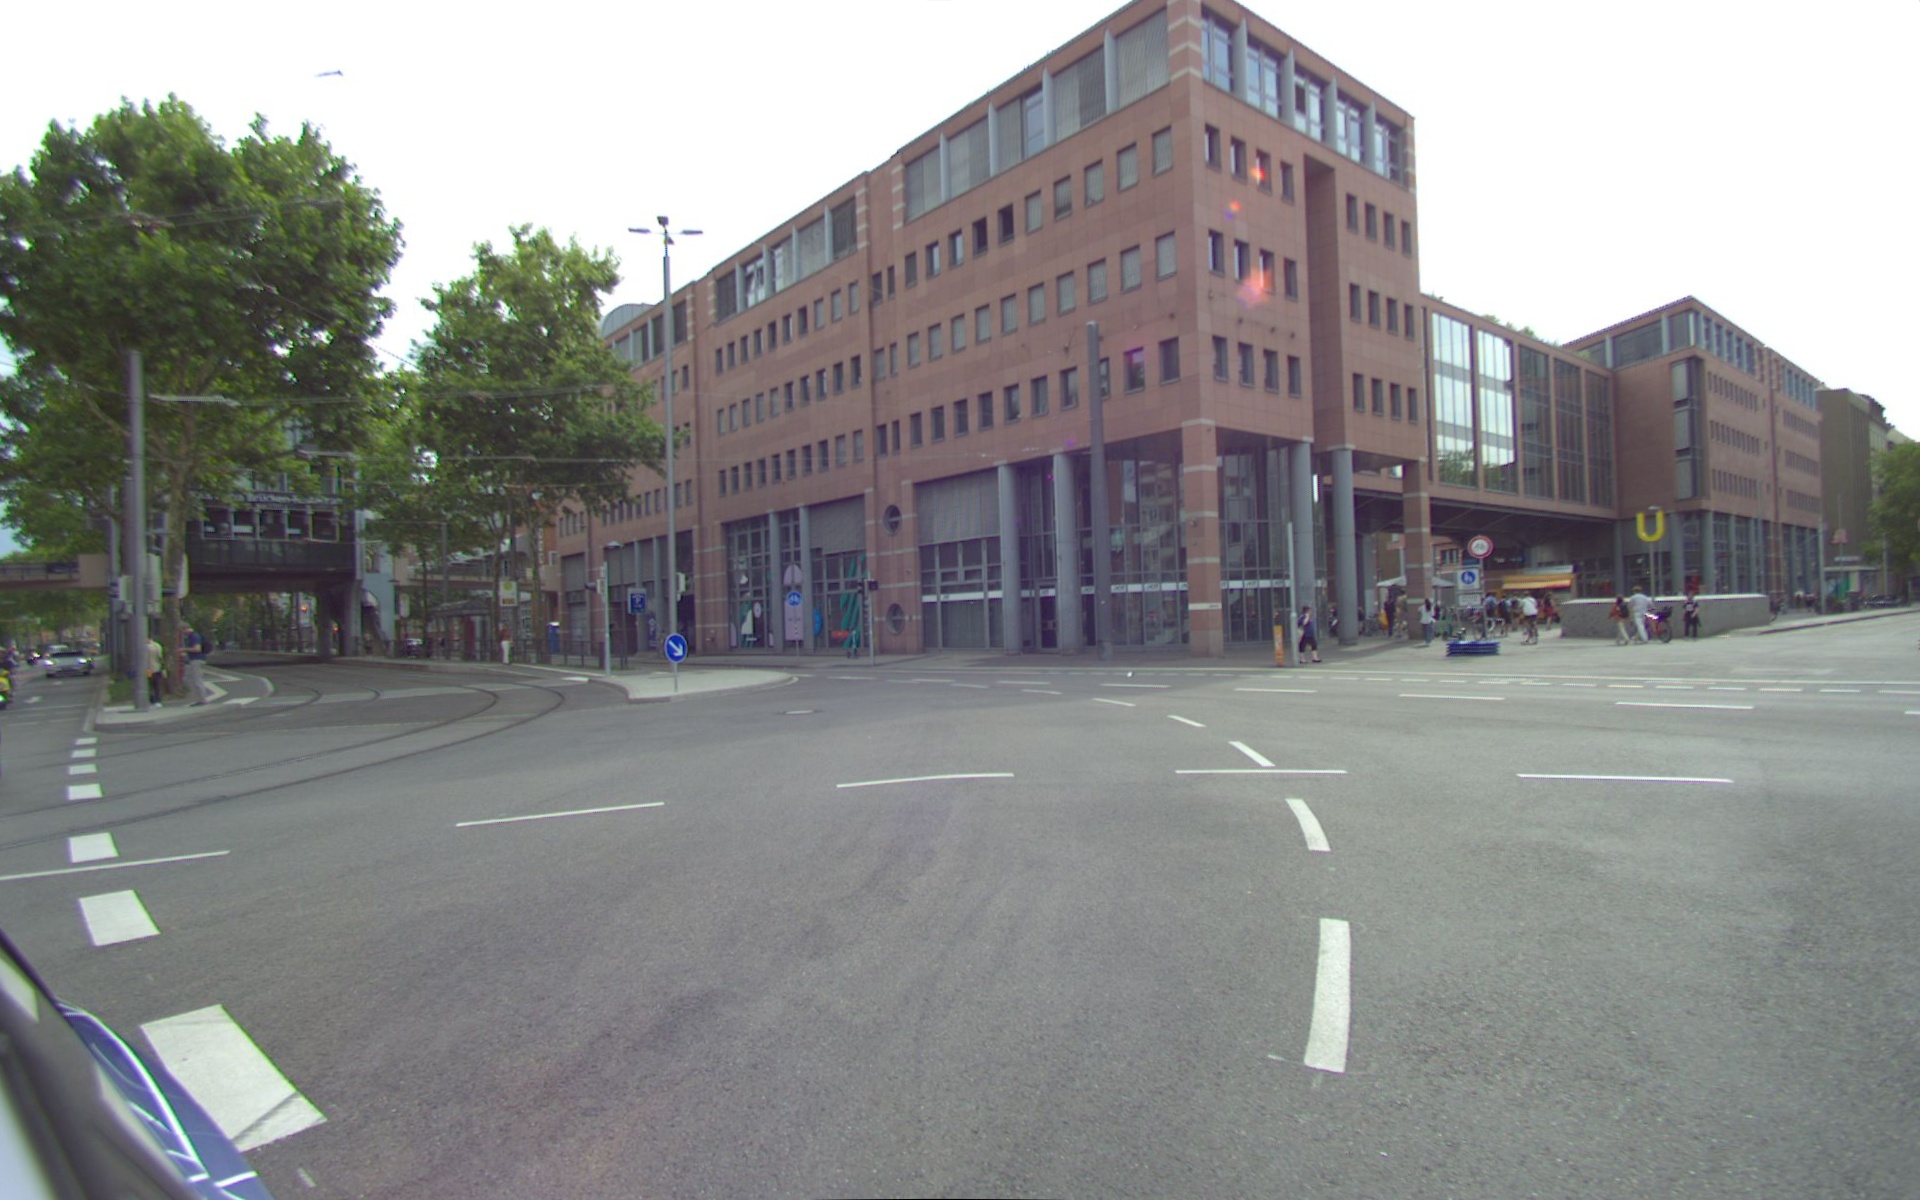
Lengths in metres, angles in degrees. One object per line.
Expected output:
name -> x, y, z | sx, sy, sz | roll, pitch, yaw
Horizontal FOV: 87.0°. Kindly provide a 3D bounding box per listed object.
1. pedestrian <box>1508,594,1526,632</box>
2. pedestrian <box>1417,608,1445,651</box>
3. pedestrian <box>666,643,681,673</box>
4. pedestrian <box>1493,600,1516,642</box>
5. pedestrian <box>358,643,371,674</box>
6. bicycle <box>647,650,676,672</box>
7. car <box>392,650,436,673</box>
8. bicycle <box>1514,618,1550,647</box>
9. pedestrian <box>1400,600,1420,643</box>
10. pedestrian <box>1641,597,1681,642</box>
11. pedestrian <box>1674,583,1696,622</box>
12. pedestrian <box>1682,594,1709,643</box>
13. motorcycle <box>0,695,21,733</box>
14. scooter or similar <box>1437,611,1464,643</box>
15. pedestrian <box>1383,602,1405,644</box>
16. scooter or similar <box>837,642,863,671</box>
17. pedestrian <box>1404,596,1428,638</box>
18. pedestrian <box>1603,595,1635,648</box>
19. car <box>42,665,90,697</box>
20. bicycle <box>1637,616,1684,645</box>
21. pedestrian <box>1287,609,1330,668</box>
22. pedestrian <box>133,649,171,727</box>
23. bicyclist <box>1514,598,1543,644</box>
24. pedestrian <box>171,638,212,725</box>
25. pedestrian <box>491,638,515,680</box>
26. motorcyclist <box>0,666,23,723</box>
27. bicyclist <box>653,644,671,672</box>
pedestrian -> 24.937, 0.589, 45.303 | 0.513, 1.676, 0.465 | -1, -3, -39
pedestrian -> 16.401, 1.026, 35.230 | 0.645, 1.484, 0.582 | -1, -3, -39
pedestrian -> -15.484, 3.132, 54.686 | 0.521, 1.585, 0.602 | -1, -3, -40
pedestrian -> 21.804, 0.843, 40.519 | 0.513, 1.676, 0.582 | -1, -3, -39
pedestrian -> -34.593, 3.390, 58.776 | 0.481, 1.784, 0.475 | -4, -2, 43
bicycle -> -15.439, 3.159, 52.329 | 1.587, 1.126, 0.541 | -4, -2, 38
car -> -39.500, 4.440, 73.177 | 1.840, 1.484, 4.302 | -1, -2, -41
bicycle -> 20.399, 1.147, 36.099 | 0.468, 0.996, 1.783 | -3, -2, 9
pedestrian -> 17.867, 0.871, 40.224 | 0.576, 1.676, 0.518 | -3, -2, 17
pedestrian -> 22.371, 0.623, 32.310 | 0.625, 1.386, 0.862 | -3, -2, 8
pedestrian -> 32.015, 0.109, 44.712 | 0.513, 1.676, 0.582 | -1, -3, -39
pedestrian -> 24.312, 0.612, 33.442 | 0.499, 1.589, 0.522 | -1, -3, -38
motorcycle -> -26.292, 3.119, 27.779 | 2.013, 0.975, 0.563 | -4, -3, 41
scooter or similar -> 18.823, 1.047, 38.829 | 0.378, 1.178, 1.292 | -2, -2, 2
pedestrian -> 17.535, 0.917, 40.905 | 0.513, 1.676, 0.582 | -1, -3, -39
scooter or similar -> -4.511, 2.305, 41.470 | 0.512, 1.142, 1.114 | -1, -2, -39
pedestrian -> 19.768, 0.739, 43.885 | 0.676, 1.775, 0.498 | -3, -2, 3
pedestrian -> 21.229, 0.693, 32.598 | 0.626, 1.654, 0.466 | -3, -2, 11
car -> -51.601, 4.648, 58.466 | 1.928, 1.613, 4.007 | -1, -2, -39
bicycle -> 22.417, 0.969, 32.418 | 0.468, 0.895, 1.783 | -3, -2, 9
pedestrian -> 9.135, 1.011, 26.555 | 0.786, 1.484, 0.686 | -1, -3, -40
pedestrian -> -19.216, 2.085, 24.068 | 0.526, 1.805, 0.579 | -2, -2, -20
bicyclist -> 20.291, 0.748, 36.130 | 0.541, 1.581, 0.881 | -3, -2, 10
pedestrian -> -17.292, 1.815, 22.779 | 0.683, 1.889, 0.808 | -1, -3, -39
pedestrian -> -17.517, 2.258, 38.781 | 0.649, 1.549, 0.559 | -1, 0, -44
motorcyclist -> -26.293, 2.591, 27.667 | 1.043, 1.528, 0.861 | -4, -3, 40
bicyclist -> -15.416, 3.009, 52.312 | 0.737, 1.391, 0.545 | -4, -3, 40
